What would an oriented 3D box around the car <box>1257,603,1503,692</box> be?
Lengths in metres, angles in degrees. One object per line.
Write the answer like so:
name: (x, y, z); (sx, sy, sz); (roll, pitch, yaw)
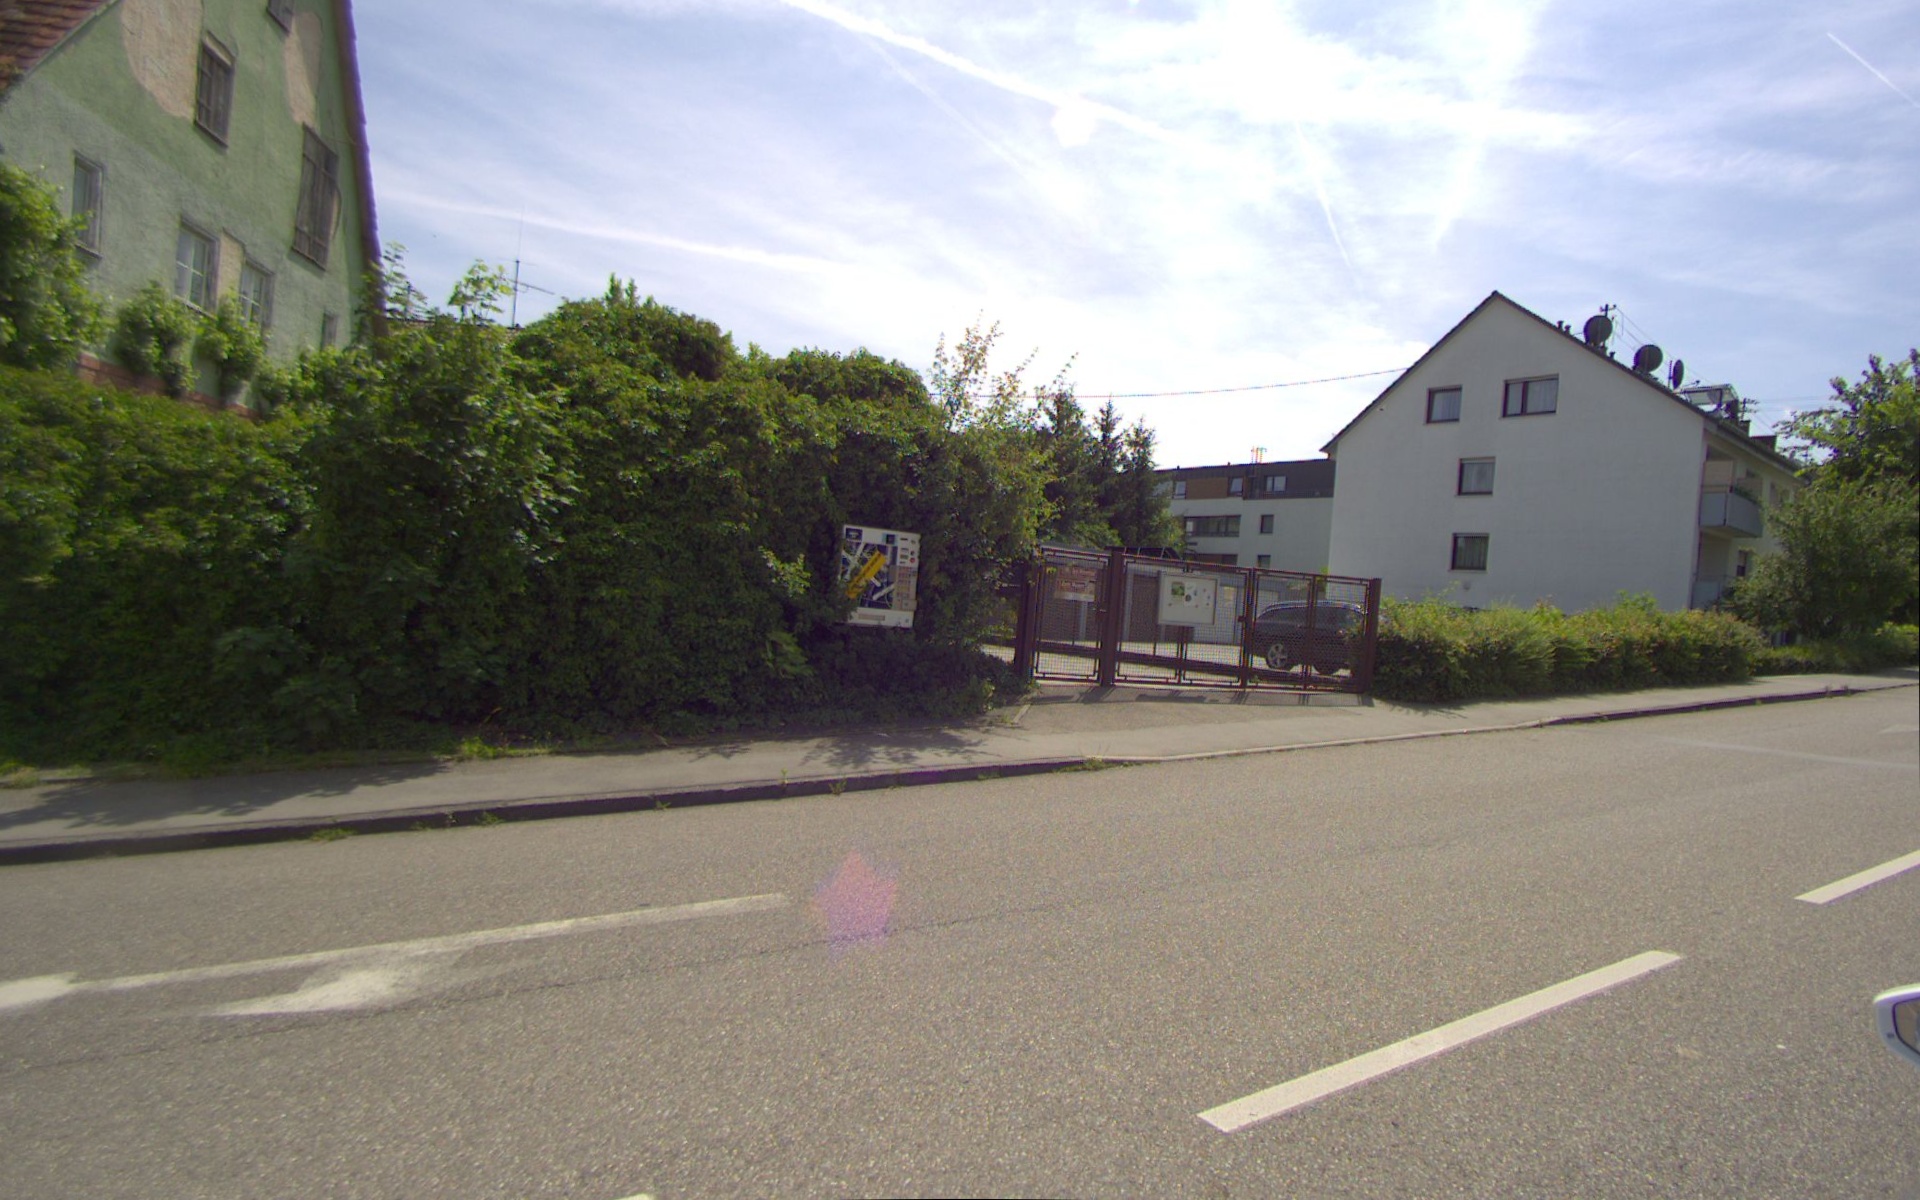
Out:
car: (8.085, 0.847, 19.631); (1.983, 1.406, 3.955); (1, 1, -38)
